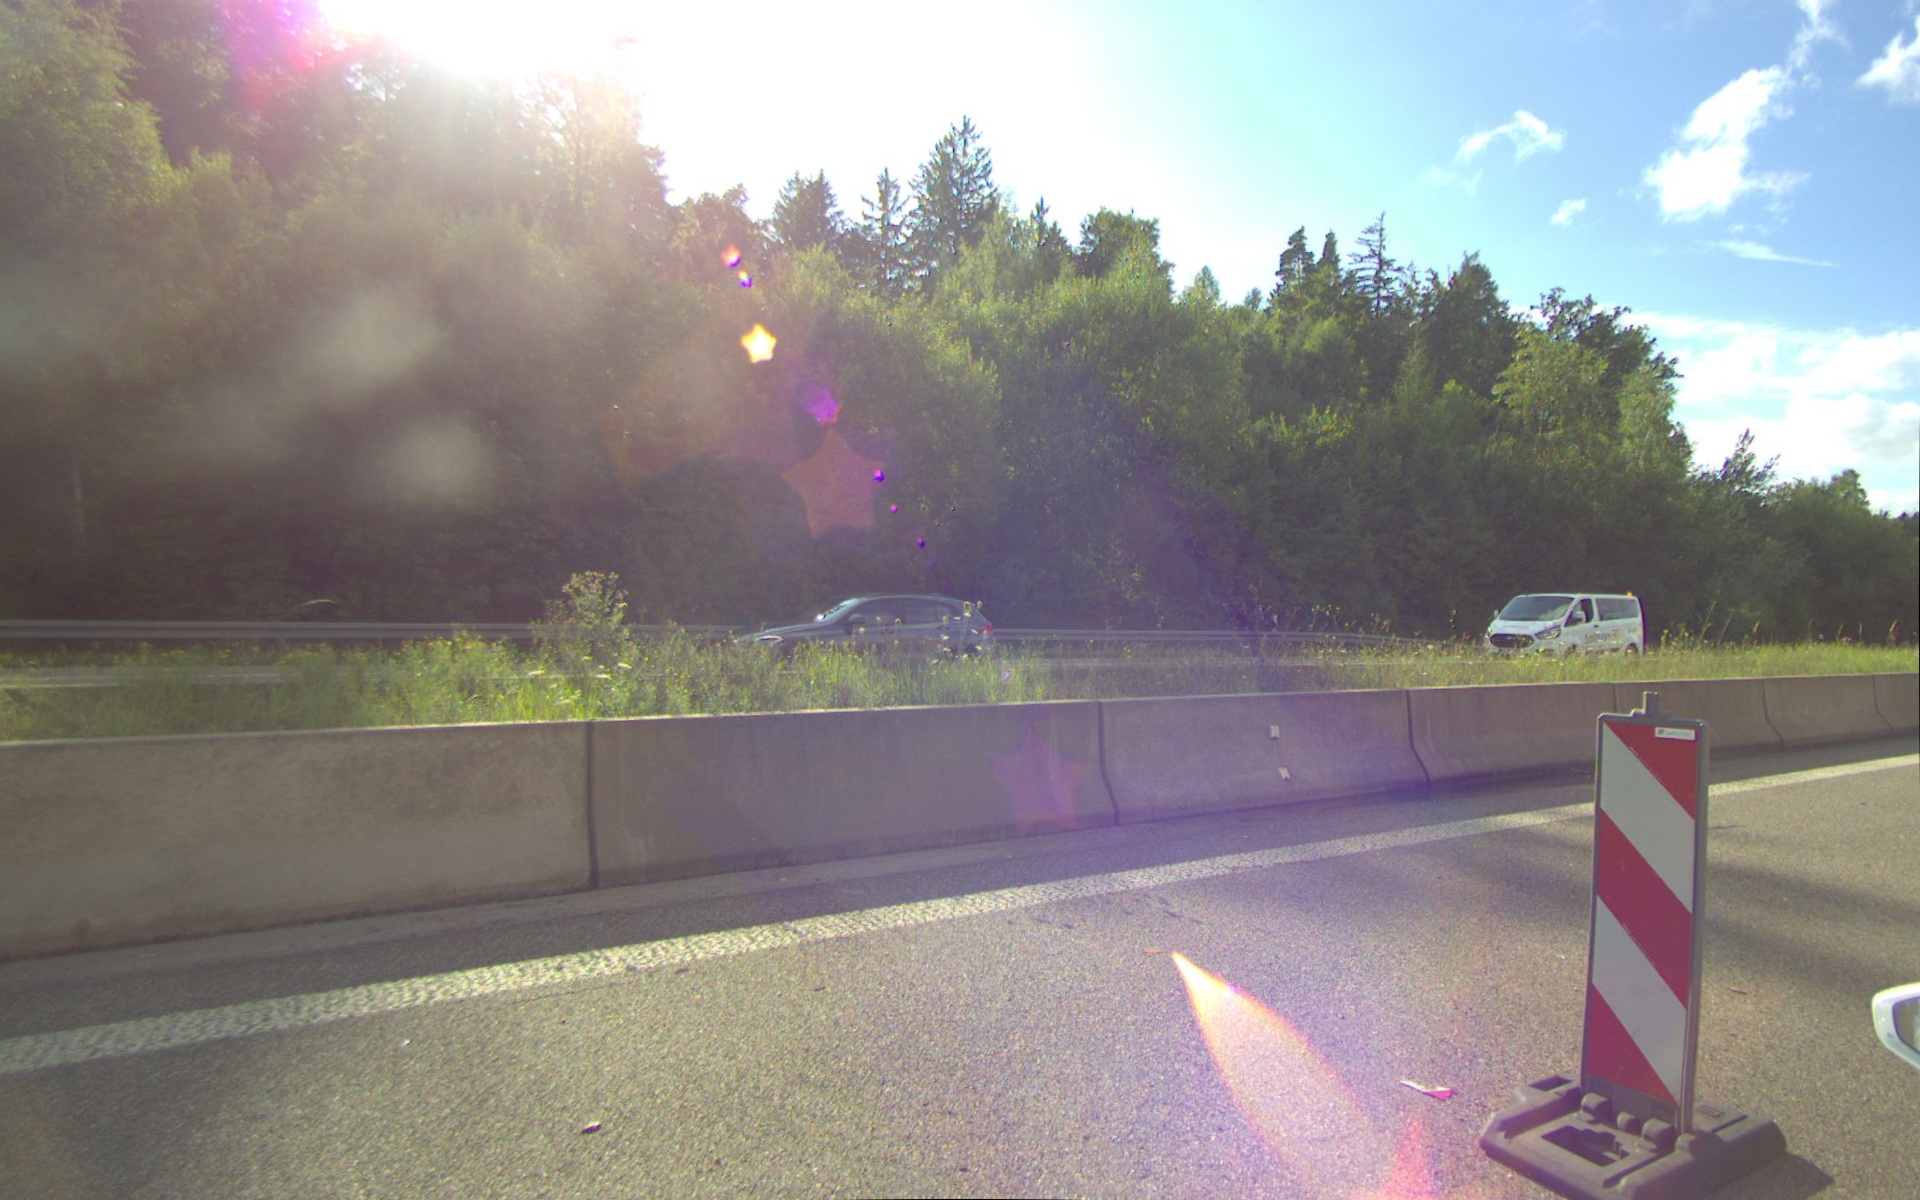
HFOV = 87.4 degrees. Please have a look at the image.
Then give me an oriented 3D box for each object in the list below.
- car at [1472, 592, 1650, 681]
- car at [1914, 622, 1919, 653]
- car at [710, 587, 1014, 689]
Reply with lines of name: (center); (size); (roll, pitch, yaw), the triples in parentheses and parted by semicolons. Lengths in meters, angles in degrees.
car: (15.290, 0.915, 25.494); (4.780, 2.040, 1.981); (2, 0, -34)
car: (64.254, 2.497, 65.462); (3.953, 2.040, 1.984); (2, 0, -30)
car: (-1.476, 0.567, 15.463); (4.237, 1.381, 1.949); (2, 0, -30)
